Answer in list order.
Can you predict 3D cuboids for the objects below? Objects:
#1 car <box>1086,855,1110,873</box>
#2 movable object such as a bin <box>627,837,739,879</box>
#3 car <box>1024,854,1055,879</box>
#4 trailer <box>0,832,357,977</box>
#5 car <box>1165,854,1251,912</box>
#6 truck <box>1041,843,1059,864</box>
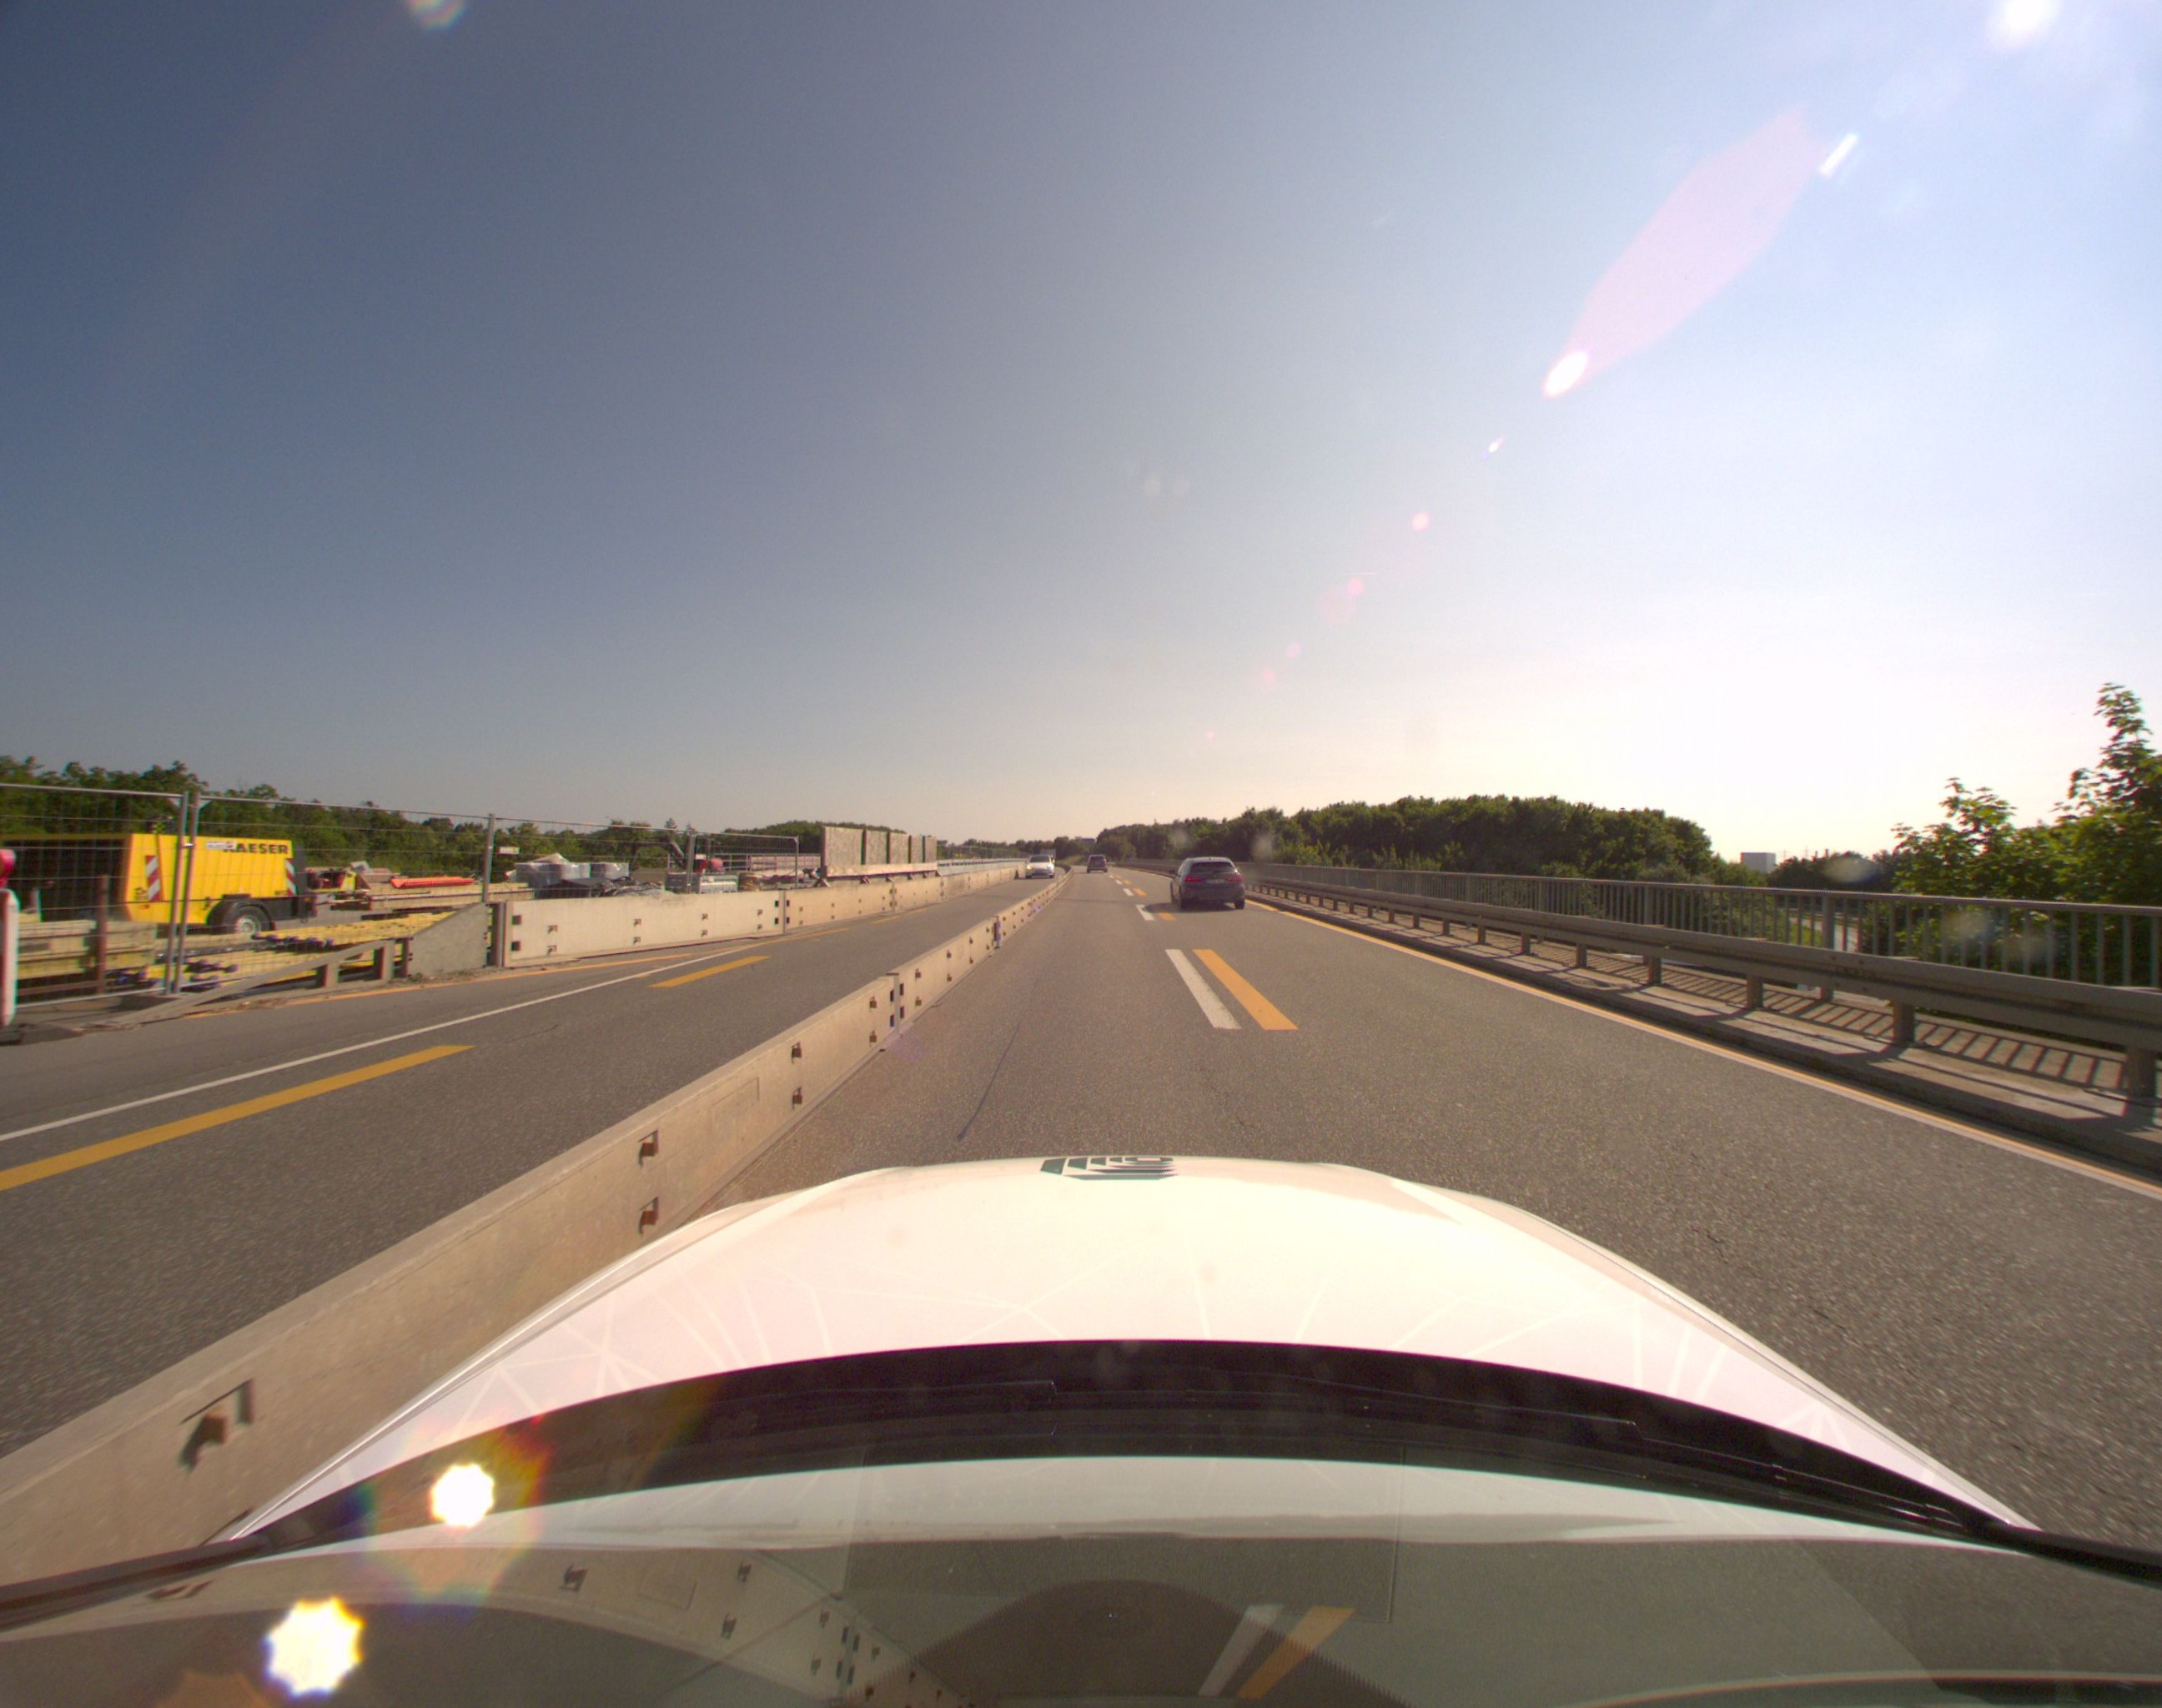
[{"bbox_3d":[1.580,0.873,73.432,1.985,1.567,4.003,-1,0,3],"label":"car"},{"bbox_3d":[-21.243,0.224,43.486,5.347,2.116,2.249,0,0,20],"label":"movable object such as a bin"},{"bbox_3d":[-2.848,0.859,57.328,1.976,1.651,4.547,1,0,-1],"label":"car"},{"bbox_3d":[-12.214,0.577,11.070,1.716,1.648,3.528,1,0,-5],"label":"trailer"},{"bbox_3d":[3.600,0.781,23.769,1.913,1.494,4.001,-1,0,1],"label":"car"},{"bbox_3d":[-7.771,-0.200,202.293,3.754,4.911,14.113,0,0,-4],"label":"truck"}]
